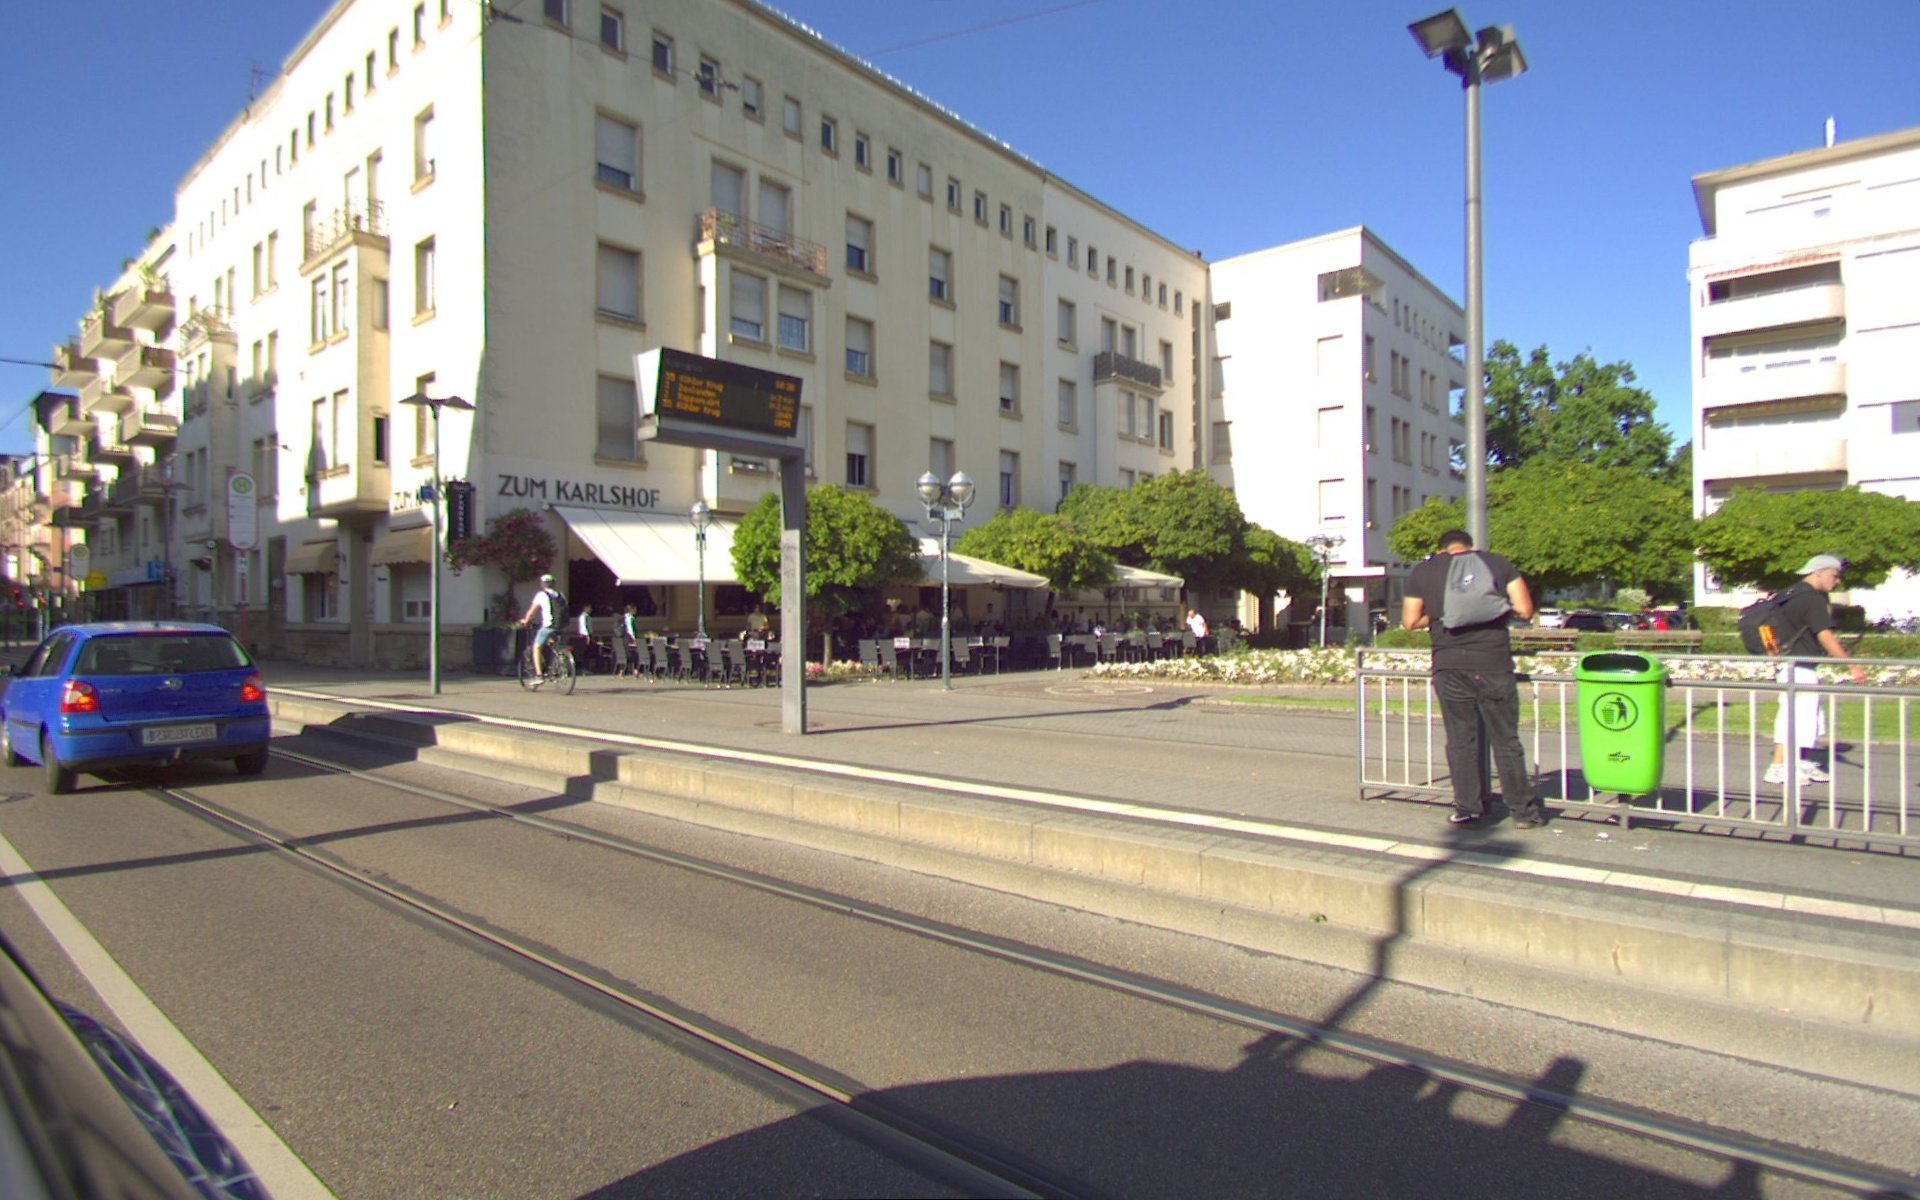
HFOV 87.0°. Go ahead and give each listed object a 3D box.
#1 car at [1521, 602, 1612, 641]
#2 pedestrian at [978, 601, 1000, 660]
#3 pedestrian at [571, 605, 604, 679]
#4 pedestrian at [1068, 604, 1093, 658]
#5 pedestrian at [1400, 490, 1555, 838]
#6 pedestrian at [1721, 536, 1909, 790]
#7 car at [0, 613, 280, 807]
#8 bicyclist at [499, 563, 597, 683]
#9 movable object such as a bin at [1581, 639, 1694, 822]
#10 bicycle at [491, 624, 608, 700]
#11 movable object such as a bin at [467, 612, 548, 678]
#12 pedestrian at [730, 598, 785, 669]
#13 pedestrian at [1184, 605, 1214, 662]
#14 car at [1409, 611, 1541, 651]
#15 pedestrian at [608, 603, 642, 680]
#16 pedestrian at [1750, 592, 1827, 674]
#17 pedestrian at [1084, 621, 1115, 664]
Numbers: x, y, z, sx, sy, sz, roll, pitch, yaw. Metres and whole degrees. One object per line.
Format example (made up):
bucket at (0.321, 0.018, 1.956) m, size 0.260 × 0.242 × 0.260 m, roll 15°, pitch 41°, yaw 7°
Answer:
car at (24.245, 0.867, 40.484) m, size 2.932 × 1.497 × 1.399 m, roll -1°, pitch -1°, yaw 41°
pedestrian at (0.922, 0.962, 31.785) m, size 0.641 × 1.837 × 0.576 m, roll -1°, pitch -1°, yaw 5°
pedestrian at (-8.478, 0.963, 22.993) m, size 0.662 × 1.657 × 0.753 m, roll 0°, pitch -4°, yaw -22°
pedestrian at (3.981, 1.024, 33.435) m, size 0.677 × 1.750 × 0.671 m, roll -3°, pitch -4°, yaw 14°
pedestrian at (2.780, 0.328, 5.443) m, size 0.607 × 1.731 × 0.542 m, roll -1°, pitch -3°, yaw 43°
pedestrian at (6.228, 0.427, 7.446) m, size 0.972 × 1.693 × 0.984 m, roll 1°, pitch -1°, yaw 36°
car at (-8.273, 0.912, 9.923) m, size 3.997 × 1.499 × 1.650 m, roll -1°, pitch 0°, yaw 41°
bicyclist at (-6.511, 0.364, 16.003) m, size 1.092 × 1.807 × 0.996 m, roll -1°, pitch -1°, yaw 33°
movable object such as a bin at (3.446, 0.640, 5.149) m, size 0.416 × 0.866 × 0.332 m, roll -2°, pitch -1°, yaw 44°
bicycle at (-6.508, 0.951, 16.003) m, size 2.030 × 1.134 × 0.706 m, roll -1°, pitch -1°, yaw 34°
movable object such as a bin at (-10.010, 0.976, 22.398) m, size 1.127 × 1.410 × 1.302 m, roll -1°, pitch -1°, yaw 40°
pedestrian at (-4.856, 0.787, 24.272) m, size 0.755 × 1.657 × 1.054 m, roll -1°, pitch -1°, yaw 36°
pedestrian at (7.529, 1.070, 31.962) m, size 0.710 × 1.750 × 0.673 m, roll -2°, pitch -4°, yaw 1°
car at (17.742, 1.056, 34.942) m, size 3.713 × 1.310 × 1.973 m, roll -1°, pitch -1°, yaw 41°
pedestrian at (-7.419, 0.932, 22.454) m, size 0.662 × 1.657 × 0.678 m, roll -1°, pitch -4°, yaw -15°
pedestrian at (18.954, 0.734, 23.157) m, size 1.064 × 1.801 × 1.179 m, roll 0°, pitch -1°, yaw -40°
pedestrian at (4.231, 1.292, 30.673) m, size 0.672 × 1.280 × 0.636 m, roll -5°, pitch -5°, yaw 36°
